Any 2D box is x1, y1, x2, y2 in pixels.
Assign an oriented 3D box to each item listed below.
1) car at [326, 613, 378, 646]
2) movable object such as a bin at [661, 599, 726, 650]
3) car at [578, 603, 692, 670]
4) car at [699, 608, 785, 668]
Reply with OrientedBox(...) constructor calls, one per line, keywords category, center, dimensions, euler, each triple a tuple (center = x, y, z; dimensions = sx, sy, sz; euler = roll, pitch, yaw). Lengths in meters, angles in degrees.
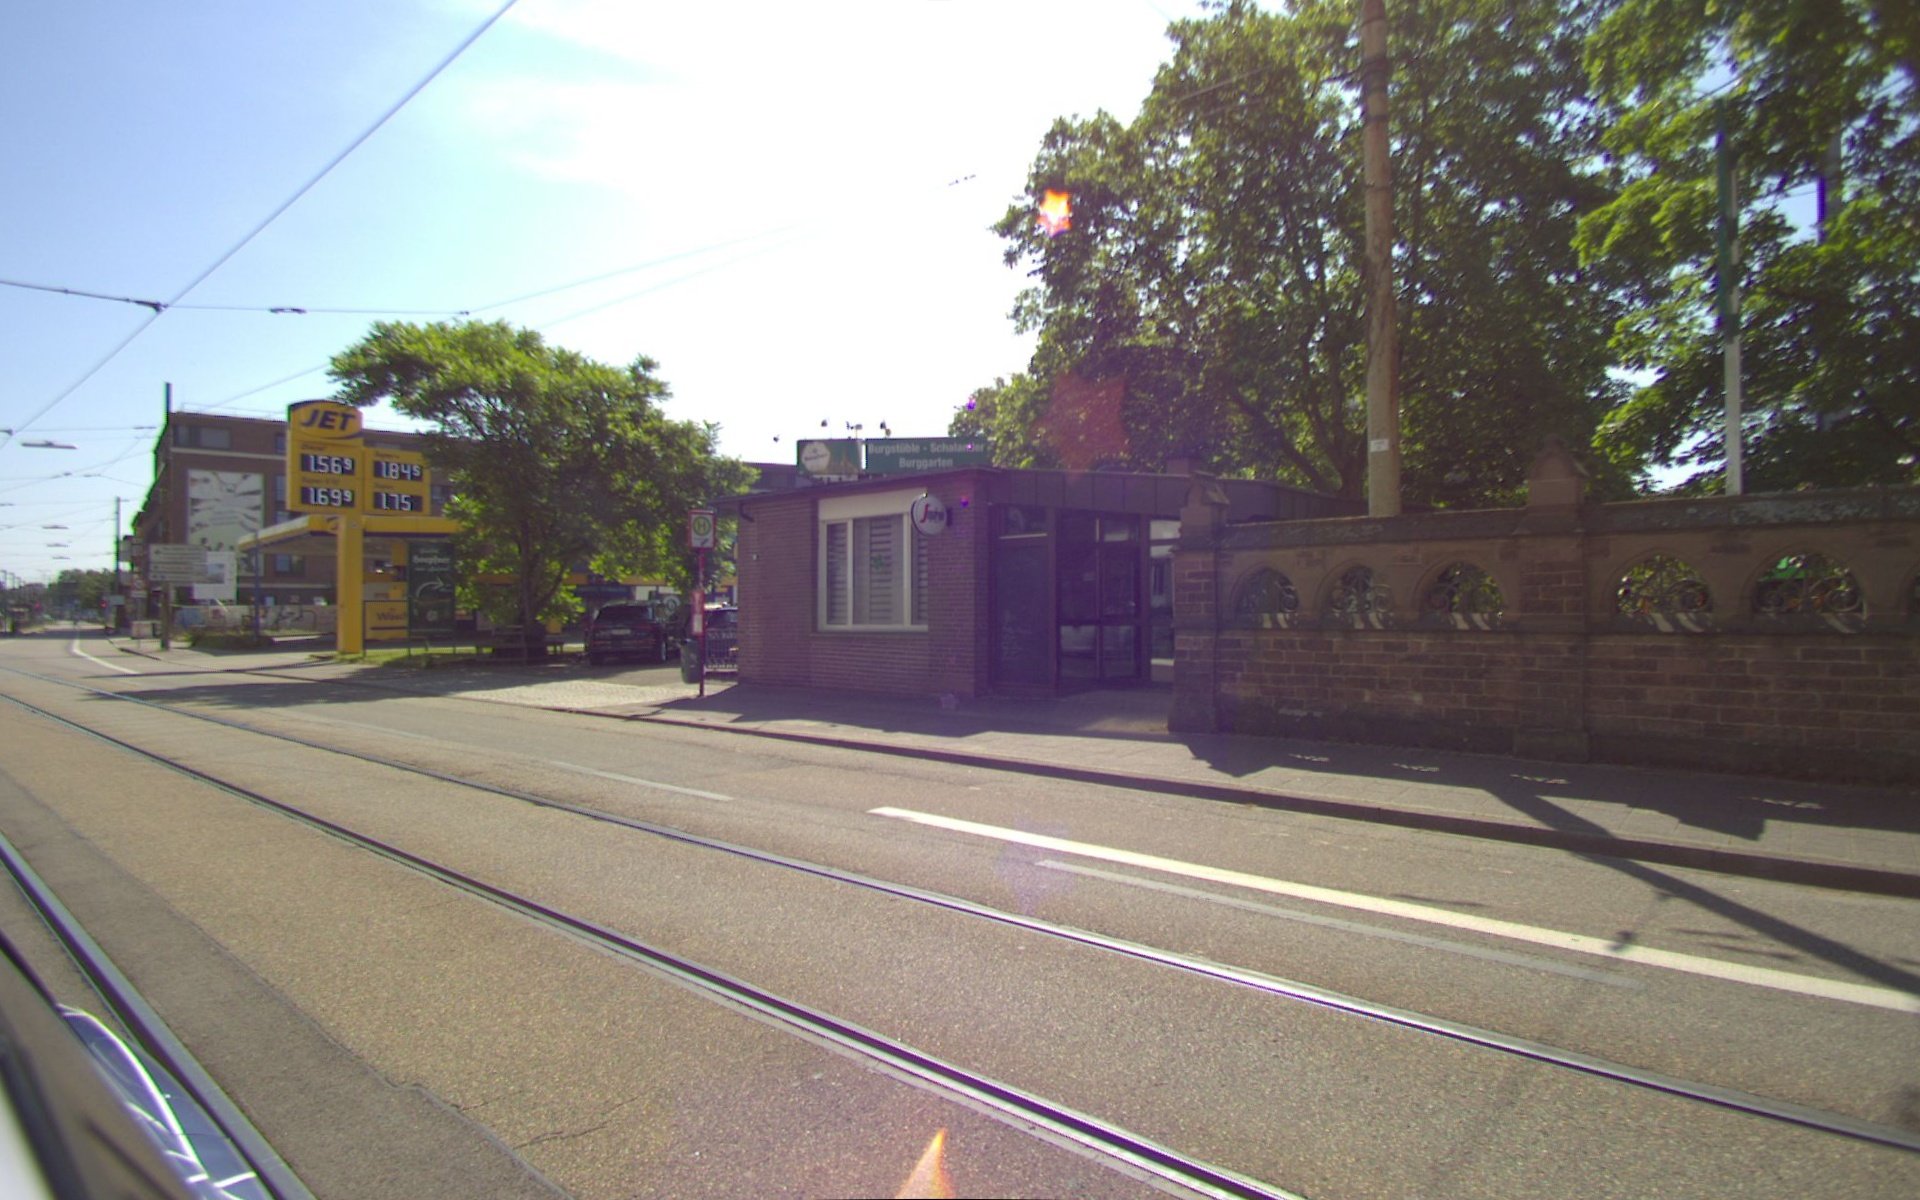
OrientedBox(category="car", center=(-30.870, 1.504, 51.477), dimensions=(1.731, 1.466, 4.423), euler=(-3, 0, -25))
OrientedBox(category="movable object such as a bin", center=(-8.175, 0.772, 31.073), dimensions=(1.380, 1.514, 1.401), euler=(-1, -3, 44))
OrientedBox(category="car", center=(-8.649, 0.926, 27.357), dimensions=(1.989, 1.653, 4.665), euler=(-1, -1, -6))
OrientedBox(category="car", center=(-5.830, 0.981, 27.476), dimensions=(1.819, 1.485, 4.005), euler=(-1, -1, -6))
